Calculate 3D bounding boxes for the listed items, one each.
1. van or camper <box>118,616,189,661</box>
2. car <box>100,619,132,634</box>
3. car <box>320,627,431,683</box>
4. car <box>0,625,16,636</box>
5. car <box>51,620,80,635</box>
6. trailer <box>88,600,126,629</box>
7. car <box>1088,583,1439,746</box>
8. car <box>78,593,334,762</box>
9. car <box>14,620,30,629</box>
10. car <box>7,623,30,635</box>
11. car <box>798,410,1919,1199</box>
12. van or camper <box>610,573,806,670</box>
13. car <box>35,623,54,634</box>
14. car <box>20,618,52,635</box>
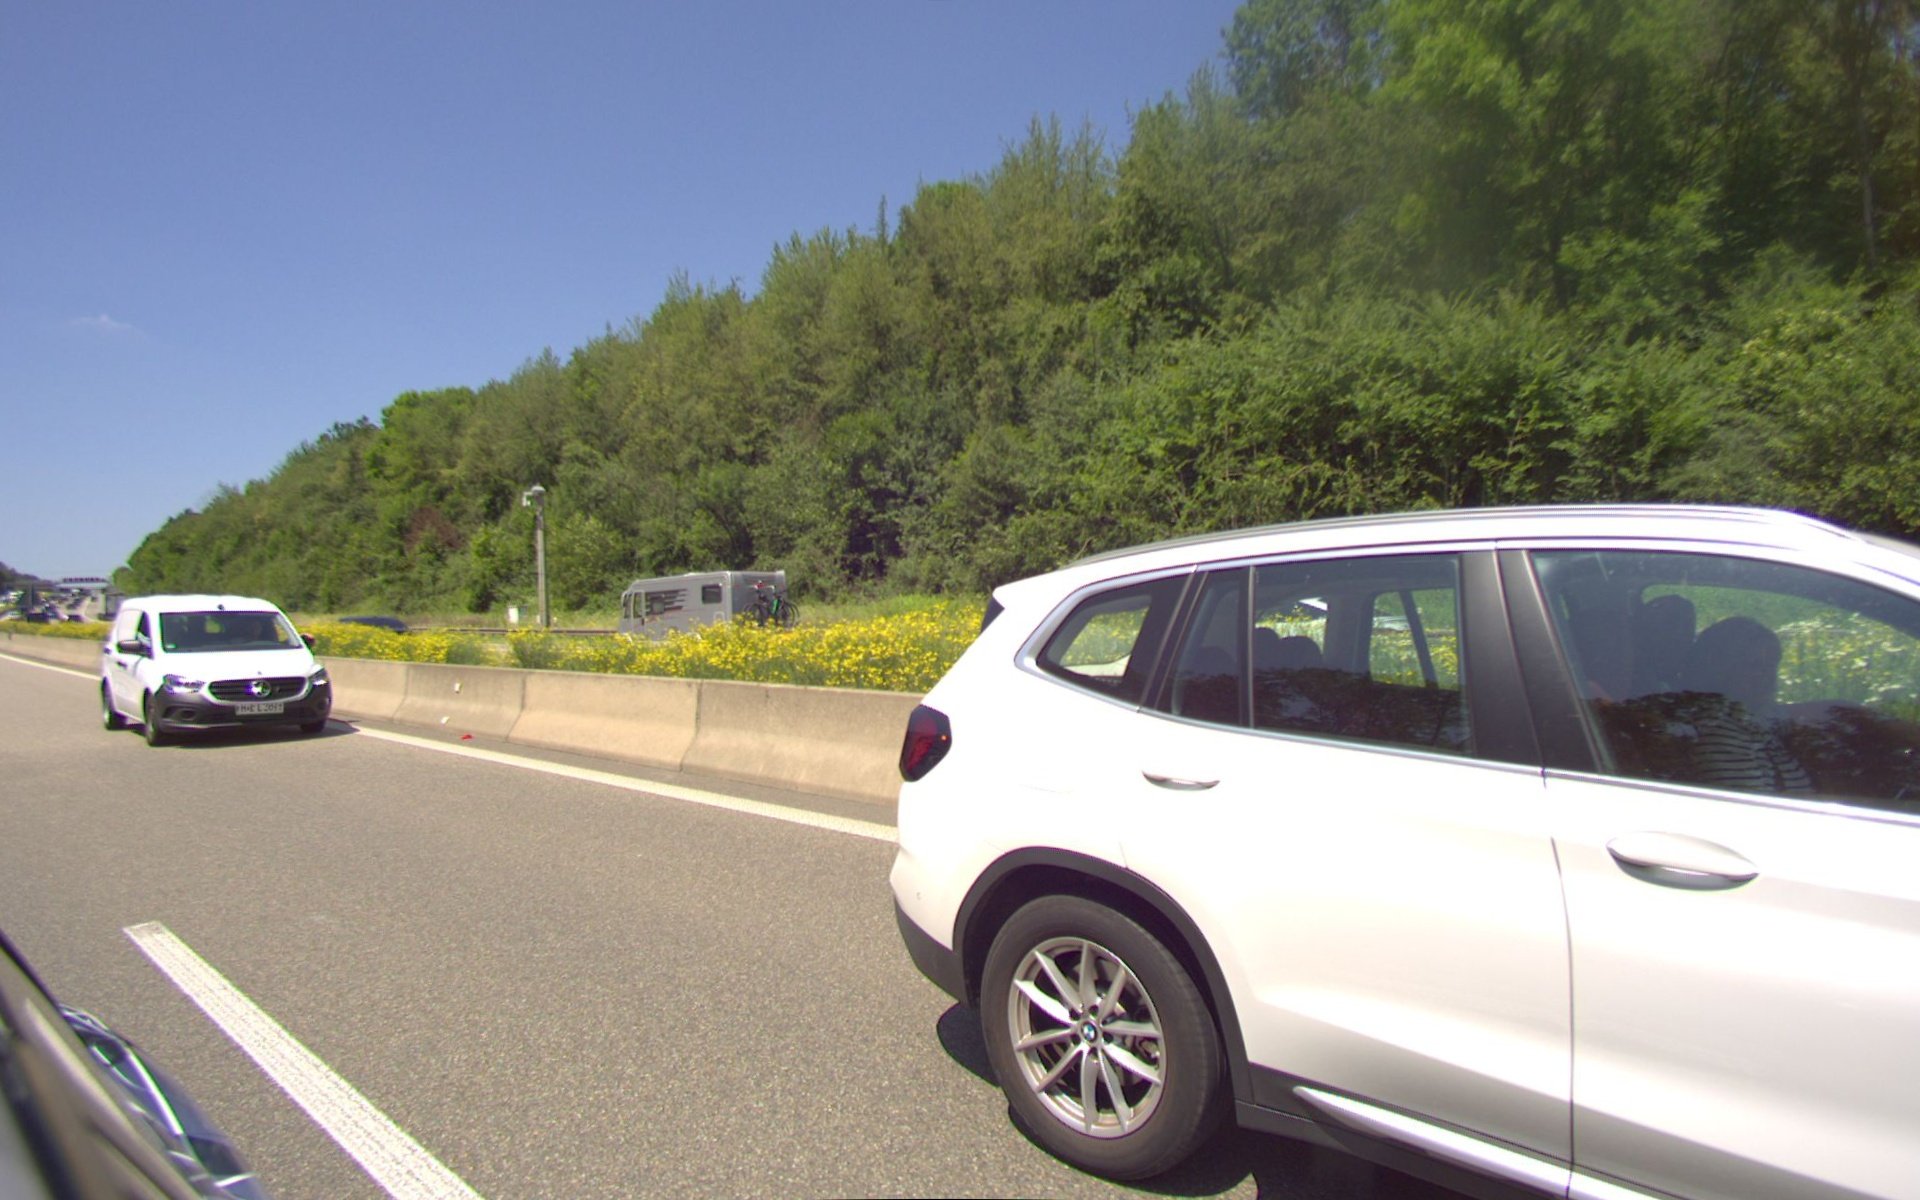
[{"bbox_3d":[-39.376,1.820,49.369,4.585,2.029,1.863,0,0,41],"label":"van or camper"},{"bbox_3d":[-89.530,2.814,107.334,4.170,1.453,1.972,0,0,42],"label":"car"},{"bbox_3d":[-17.294,1.575,29.900,3.855,1.497,1.789,-2,-1,43],"label":"car"},{"bbox_3d":[-143.053,4.535,151.868,4.002,1.497,1.971,0,0,44],"label":"car"},{"bbox_3d":[-96.019,2.962,108.580,4.000,1.497,1.972,0,0,43],"label":"car"},{"bbox_3d":[-130.914,2.204,155.213,13.931,4.239,2.686,0,-1,43],"label":"trailer"},{"bbox_3d":[4.333,0.816,14.927,4.568,2.029,1.972,0,0,43],"label":"car"},{"bbox_3d":[-9.930,0.892,13.183,4.671,1.826,1.746,-2,-1,41],"label":"car"},{"bbox_3d":[-178.712,4.699,192.872,4.081,1.691,1.971,-2,-1,43],"label":"car"},{"bbox_3d":[-117.502,3.600,126.310,4.002,1.497,1.971,0,0,44],"label":"car"},{"bbox_3d":[1.961,0.578,2.243,4.953,1.707,1.845,-2,-1,41],"label":"car"},{"bbox_3d":[-7.628,0.590,30.048,6.930,2.580,2.163,0,0,42],"label":"van or camper"},{"bbox_3d":[-147.955,4.575,163.475,4.000,1.584,1.972,0,0,43],"label":"car"},{"bbox_3d":[-87.728,2.501,96.044,4.876,1.484,1.971,0,0,45],"label":"car"}]
